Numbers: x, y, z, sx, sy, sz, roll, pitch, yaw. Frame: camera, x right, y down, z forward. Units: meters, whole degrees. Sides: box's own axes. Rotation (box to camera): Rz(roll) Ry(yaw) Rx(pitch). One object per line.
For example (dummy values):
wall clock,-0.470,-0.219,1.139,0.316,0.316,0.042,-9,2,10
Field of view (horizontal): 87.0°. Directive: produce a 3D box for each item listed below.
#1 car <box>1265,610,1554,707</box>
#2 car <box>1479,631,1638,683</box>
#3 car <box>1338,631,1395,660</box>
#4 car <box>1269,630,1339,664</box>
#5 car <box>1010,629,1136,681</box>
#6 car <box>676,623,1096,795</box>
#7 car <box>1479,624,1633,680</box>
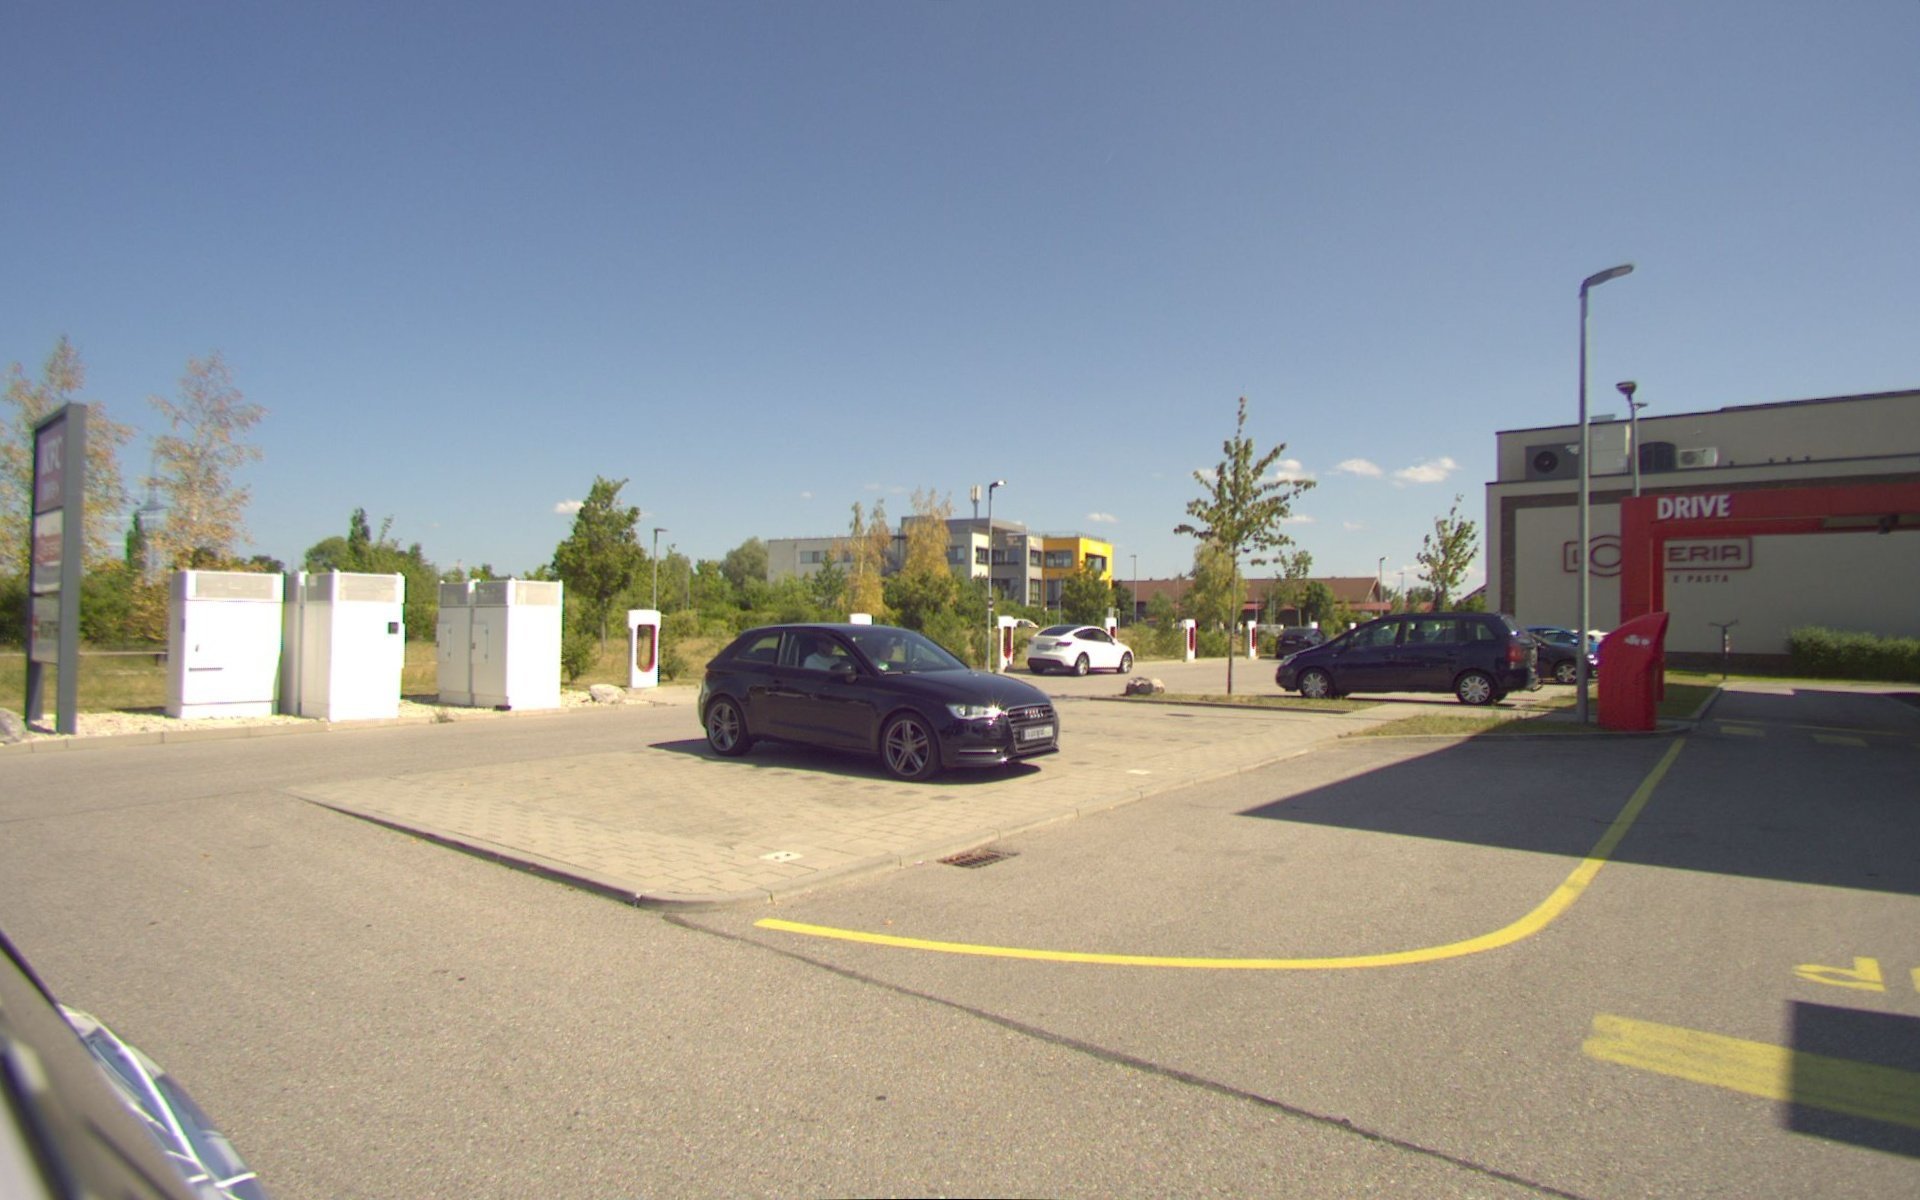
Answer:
car,8.196,1.020,18.637,4.542,1.581,1.975,-1,-2,37
car,20.049,1.863,34.002,4.440,1.621,1.766,-1,-1,38
car,23.855,2.637,59.332,2.067,1.519,3.949,1,-1,38
car,17.025,2.295,49.991,2.067,1.519,3.949,1,-1,38
car,3.837,1.768,33.752,2.215,1.538,4.376,1,-1,38
car,-0.897,0.955,10.443,4.309,1.422,1.707,-1,-2,38
car,18.617,1.584,31.674,3.994,1.621,1.766,-1,-1,38
